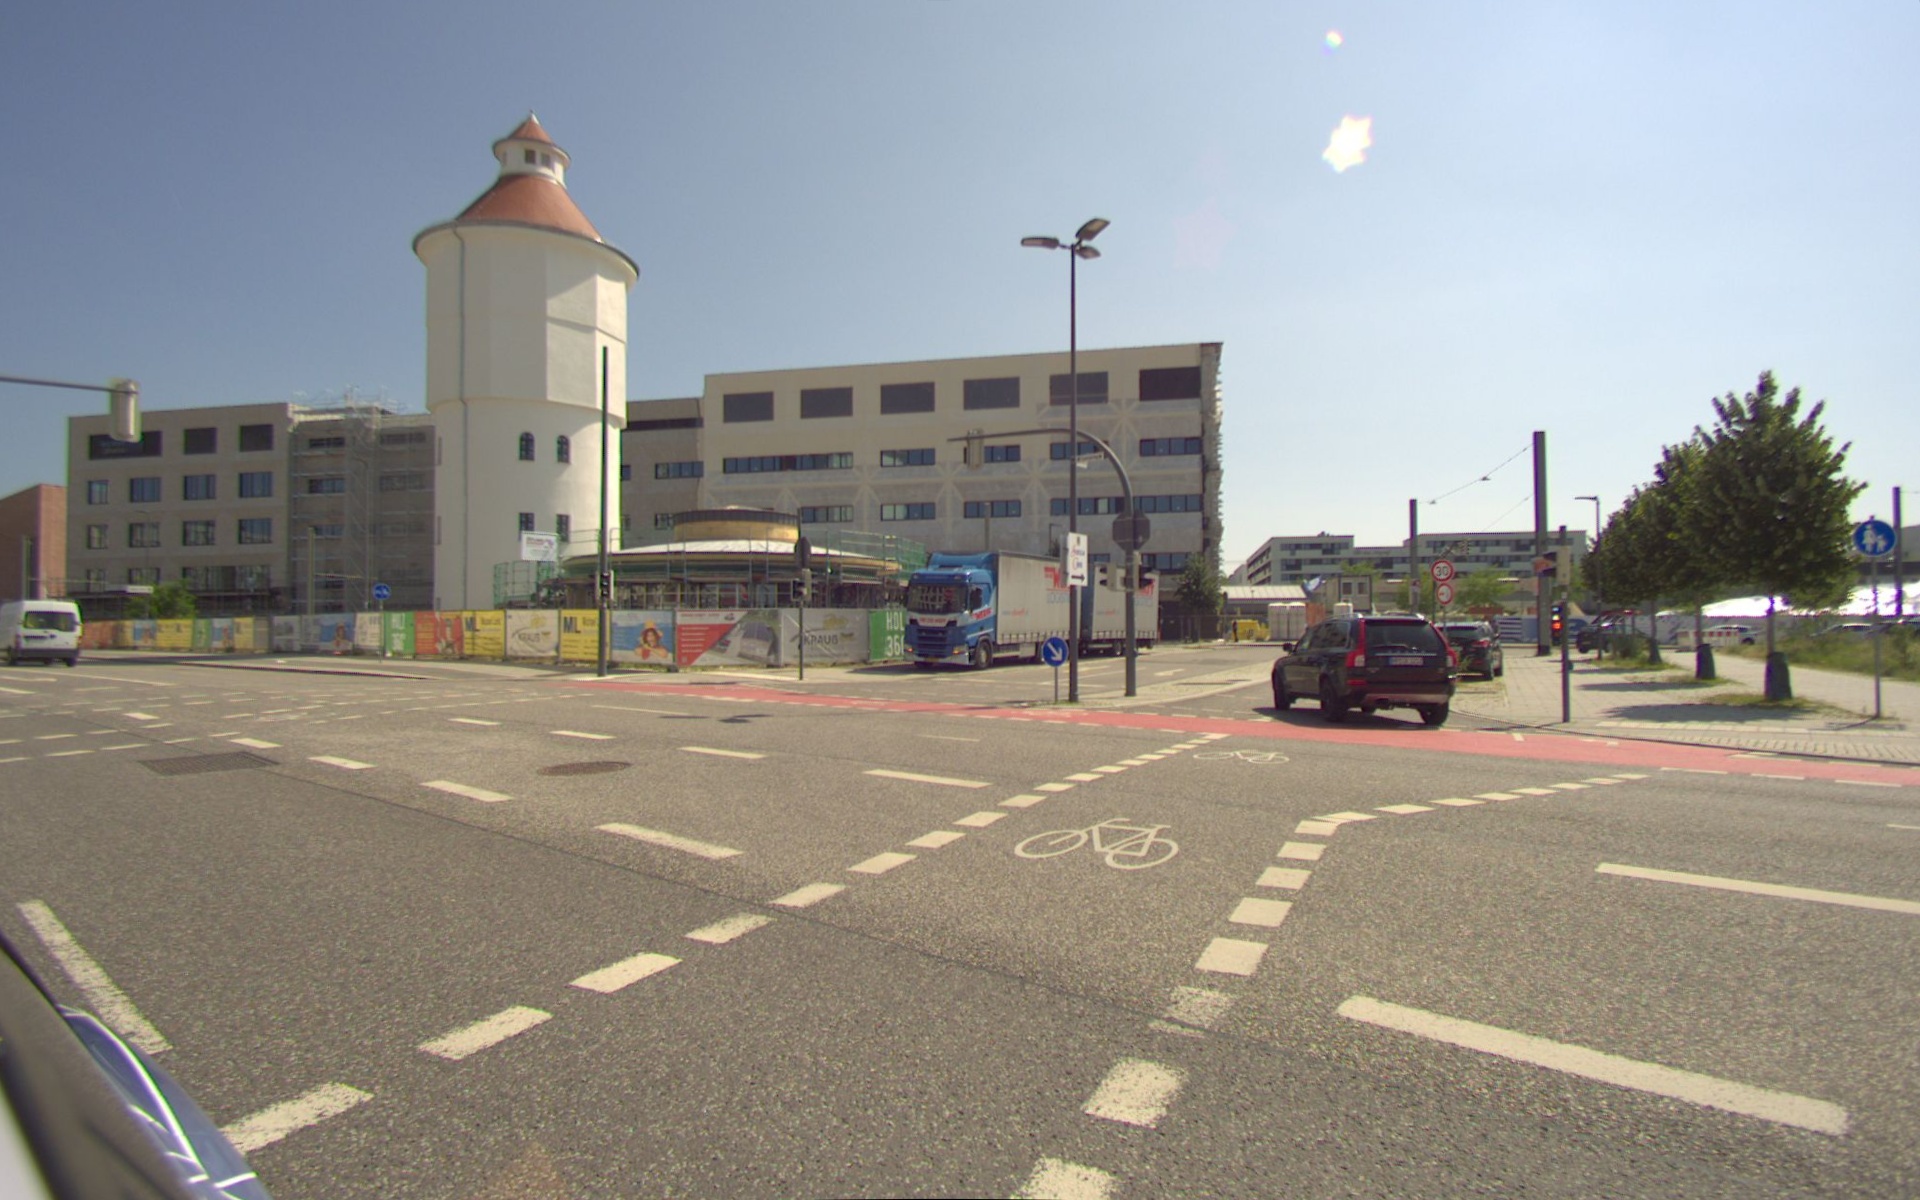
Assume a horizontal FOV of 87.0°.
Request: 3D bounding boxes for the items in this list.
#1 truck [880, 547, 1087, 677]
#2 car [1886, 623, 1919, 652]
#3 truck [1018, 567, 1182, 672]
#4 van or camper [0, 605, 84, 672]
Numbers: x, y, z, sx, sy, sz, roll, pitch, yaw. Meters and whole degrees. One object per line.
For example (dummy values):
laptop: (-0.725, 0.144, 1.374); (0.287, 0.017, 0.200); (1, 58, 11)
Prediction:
truck: (1.298, 0.348, 37.486); (3.286, 4.098, 10.881); (-1, 0, 27)
car: (60.501, 2.299, 62.896); (3.957, 1.700, 1.817); (-1, -1, 11)
truck: (6.788, 0.781, 46.923); (3.334, 4.307, 10.829); (-1, 0, 32)
van or camper: (-36.098, 1.466, 39.153); (5.672, 2.432, 2.133); (-1, -3, 37)
